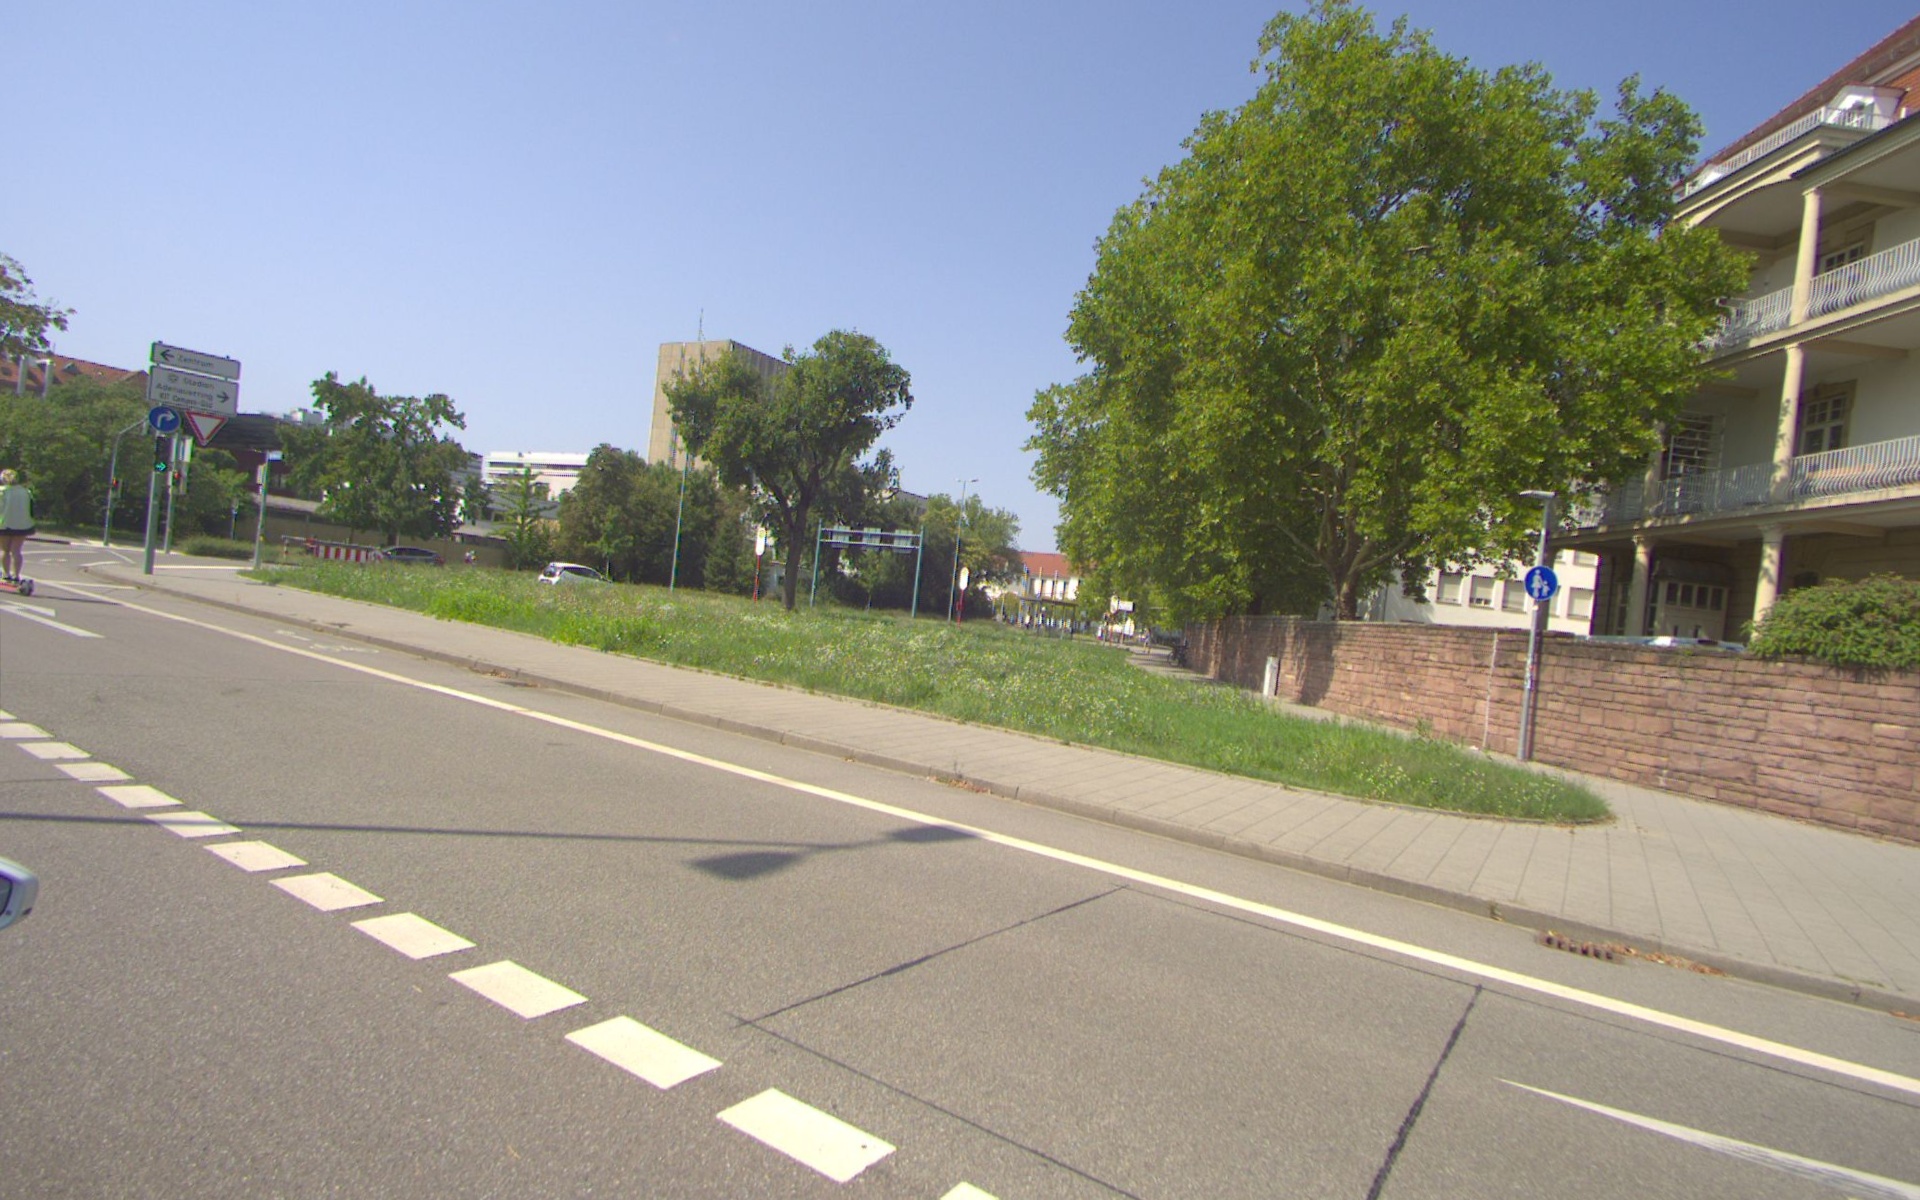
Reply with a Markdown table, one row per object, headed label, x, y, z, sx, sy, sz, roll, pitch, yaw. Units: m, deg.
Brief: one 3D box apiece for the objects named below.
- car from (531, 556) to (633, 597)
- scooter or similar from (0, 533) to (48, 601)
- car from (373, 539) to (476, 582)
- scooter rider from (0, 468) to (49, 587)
| label | x | y | z | sx | sy | sz | roll | pitch | yaw |
| --- | --- | --- | --- | --- | --- | --- | --- | --- | --- |
| car | -17.473 | -1.068 | 46.607 | 1.820 | 1.408 | 3.986 | 7 | 0 | 36 |
| scooter or similar | -14.988 | -0.547 | 15.789 | 1.598 | 0.938 | 0.771 | 7 | 0 | 42 |
| car | -26.022 | -1.896 | 48.990 | 1.794 | 1.584 | 3.988 | 7 | 0 | 35 |
| scooter rider | -14.937 | -1.149 | 15.799 | 0.547 | 1.797 | 0.760 | 7 | 1 | 42 |
